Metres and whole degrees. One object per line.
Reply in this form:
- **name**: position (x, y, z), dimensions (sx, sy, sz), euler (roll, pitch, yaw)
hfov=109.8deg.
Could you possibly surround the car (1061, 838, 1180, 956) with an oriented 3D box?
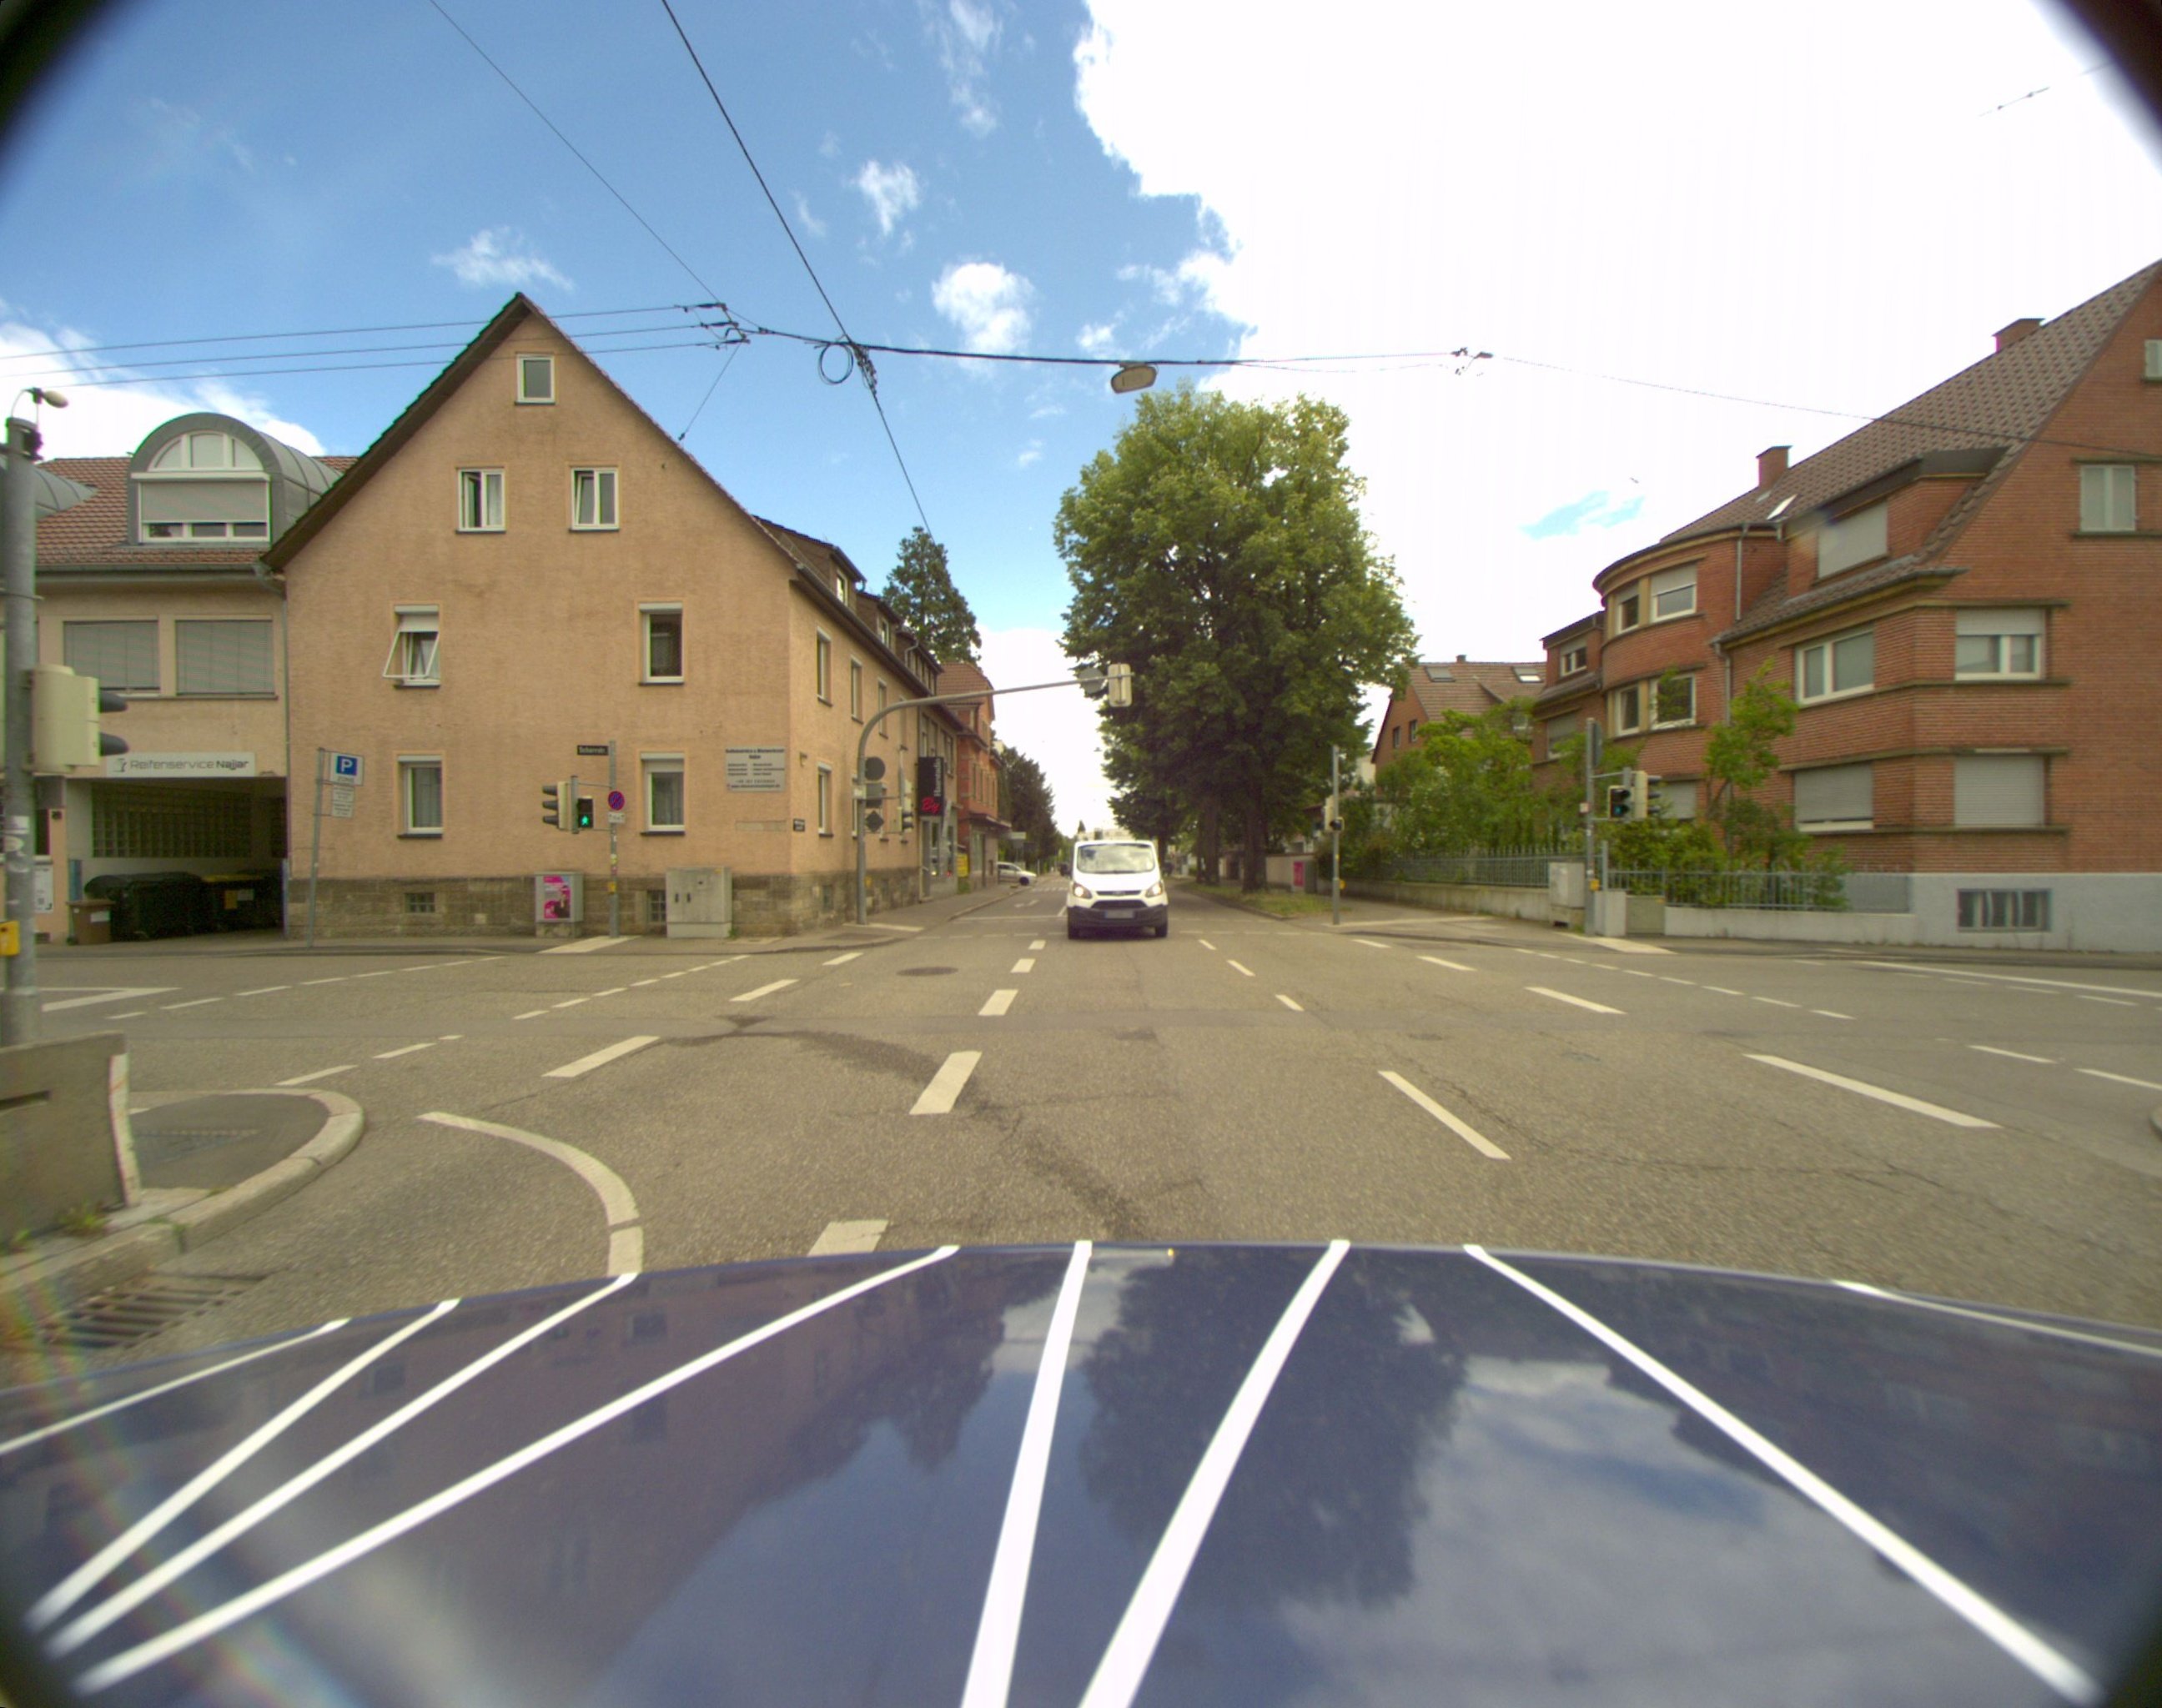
- **car**: position (0.676, 0.718, 15.970), dimensions (1.998, 1.961, 5.714), euler (-2, 1, 0)

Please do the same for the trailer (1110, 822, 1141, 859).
- **trailer**: position (4.947, -1.427, 86.543), dimensions (2.865, 3.786, 14.390), euler (-2, 0, 1)

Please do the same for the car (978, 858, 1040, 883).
- **car**: position (-4.863, 1.103, 51.990), dimensions (4.039, 1.462, 1.601), euler (3, 1, -1)

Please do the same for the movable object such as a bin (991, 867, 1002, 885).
- **movable object such as a bin**: position (-5.397, 1.410, 48.584), dimensions (0.608, 1.094, 0.622), euler (1, 1, 1)
